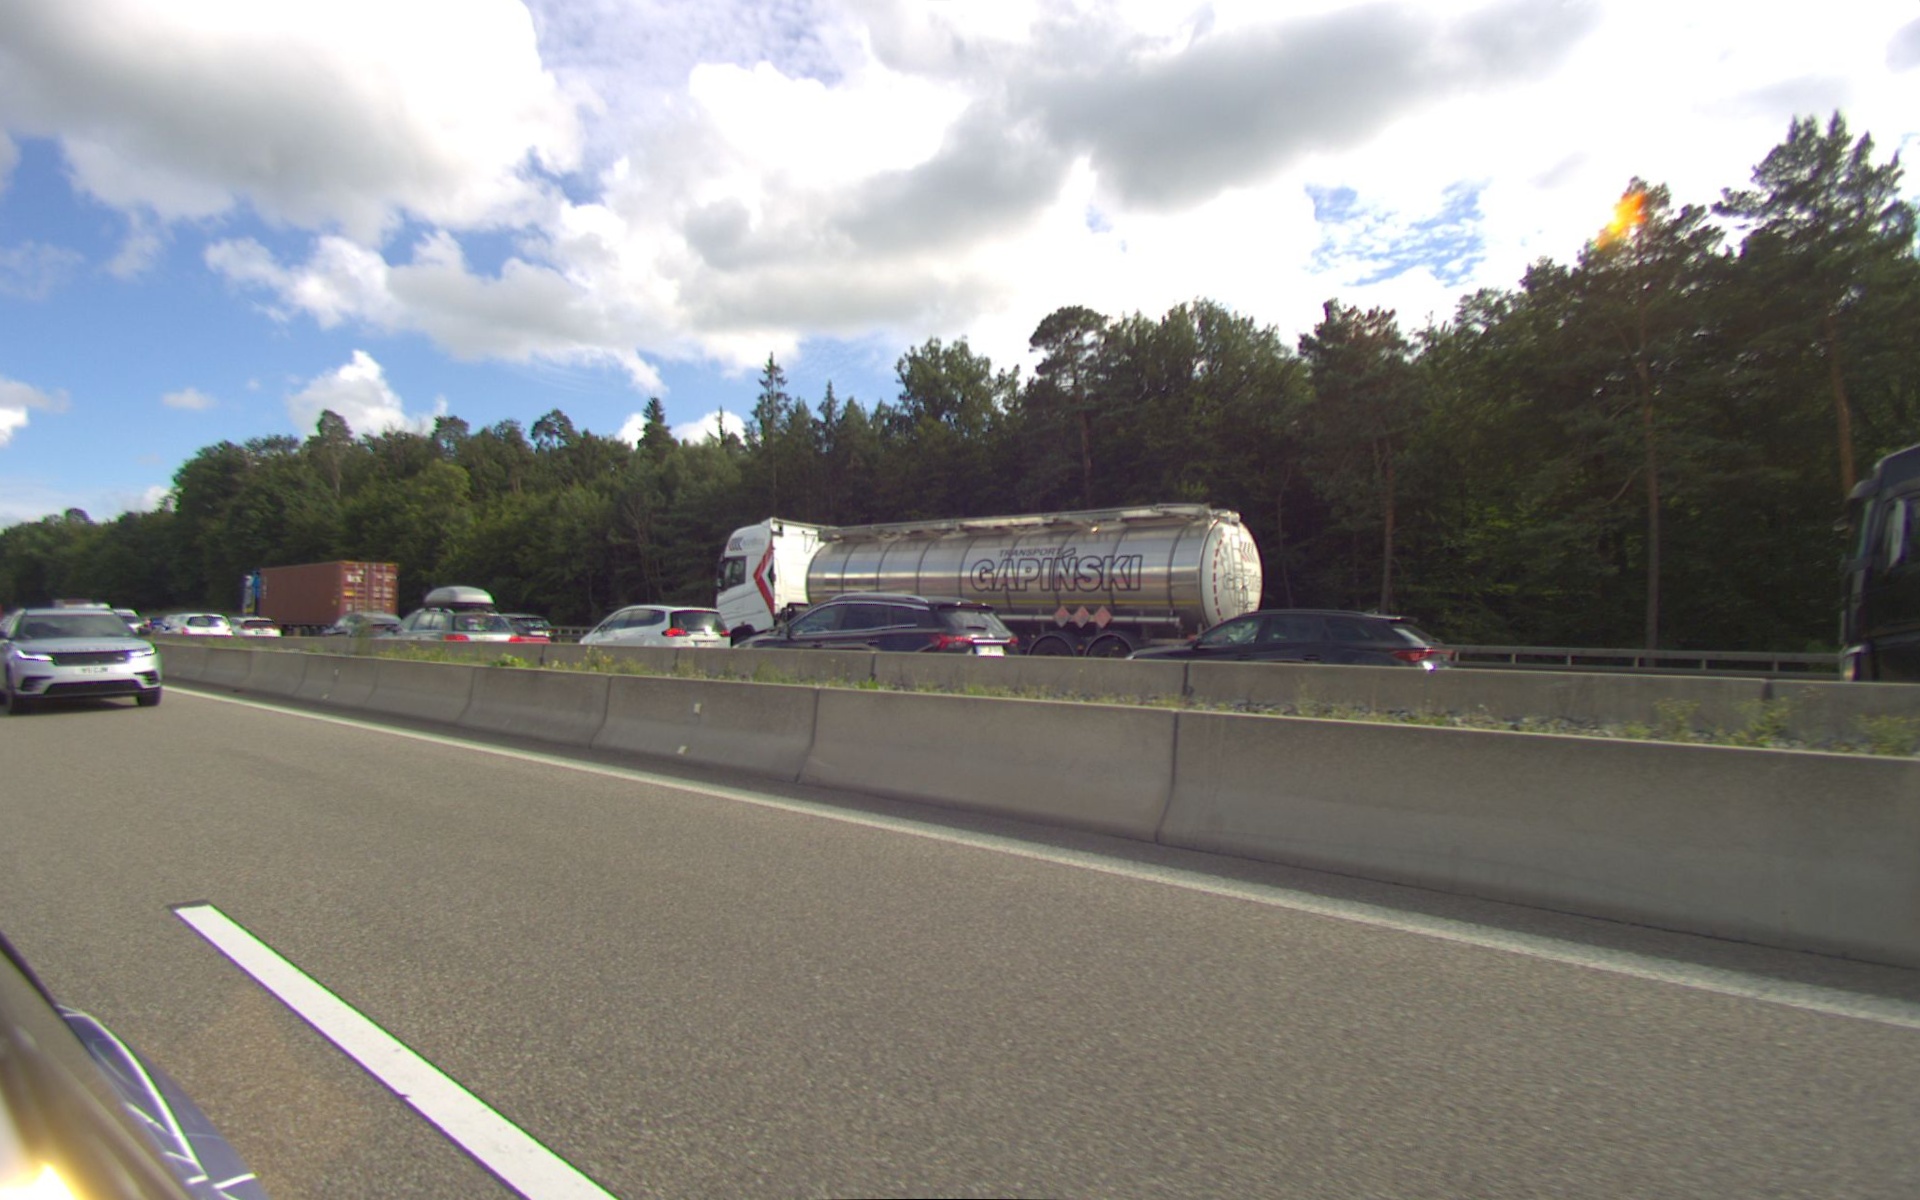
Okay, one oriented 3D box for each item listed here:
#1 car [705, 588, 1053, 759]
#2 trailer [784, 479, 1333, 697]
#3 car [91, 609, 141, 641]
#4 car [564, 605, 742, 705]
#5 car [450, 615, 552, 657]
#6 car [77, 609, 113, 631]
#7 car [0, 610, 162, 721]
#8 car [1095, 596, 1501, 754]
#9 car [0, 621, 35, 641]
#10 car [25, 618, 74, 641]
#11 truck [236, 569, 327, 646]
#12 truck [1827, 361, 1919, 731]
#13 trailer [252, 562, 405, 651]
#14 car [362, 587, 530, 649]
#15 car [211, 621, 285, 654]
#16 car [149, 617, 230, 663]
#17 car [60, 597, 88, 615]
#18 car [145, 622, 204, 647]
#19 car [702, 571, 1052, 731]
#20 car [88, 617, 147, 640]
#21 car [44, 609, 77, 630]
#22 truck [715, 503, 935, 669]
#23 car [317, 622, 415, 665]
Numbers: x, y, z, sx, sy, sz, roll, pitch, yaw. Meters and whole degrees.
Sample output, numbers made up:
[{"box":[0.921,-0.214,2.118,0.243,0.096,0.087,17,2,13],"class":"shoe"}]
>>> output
[{"box":[-1.262,0.858,13.590,4.902,1.896,1.797,-1,-1,42],"class":"car"},{"box":[1.303,-0.160,21.532,12.227,3.524,2.919,-1,0,41],"class":"trailer"},{"box":[-55.662,1.603,66.725,3.998,2.029,1.973,-1,0,41],"class":"car"},{"box":[-7.186,1.201,23.478,4.475,2.122,1.798,-1,-1,40],"class":"car"},{"box":[-16.828,1.285,37.023,4.387,1.447,1.672,-1,-1,40],"class":"car"},{"box":[-79.461,1.846,92.948,3.998,2.029,1.973,-1,-1,41],"class":"car"},{"box":[-15.477,1.040,17.407,5.103,1.619,1.880,-2,-1,42],"class":"car"},{"box":[4.393,0.894,13.720,4.900,1.777,1.798,-1,-1,41],"class":"car"},{"box":[-65.304,2.132,69.865,3.998,1.288,1.739,-1,-1,41],"class":"car"},{"box":[-54.686,1.746,60.746,3.998,1.288,1.739,-1,-1,41],"class":"car"},{"box":[-37.141,0.436,55.385,5.150,4.016,2.925,-1,-1,41],"class":"truck"},{"box":[13.449,-0.642,10.479,6.715,4.102,2.587,-1,-1,41],"class":"truck"},{"box":[-31.923,0.336,50.796,12.886,4.013,2.919,-1,0,41],"class":"trailer"},{"box":[-10.855,0.379,21.225,4.353,1.182,1.578,-1,-1,40],"class":"car"},{"box":[-32.064,1.656,45.529,4.388,1.408,1.671,-1,-1,41],"class":"car"},{"box":[-27.804,1.416,36.499,3.997,1.573,1.496,-1,-1,40],"class":"car"},{"box":[-102.818,0.707,117.456,3.998,2.029,1.973,-1,0,41],"class":"car"},{"box":[-43.277,1.876,55.718,3.998,1.288,1.853,-1,-1,41],"class":"car"},{"box":[-1.282,0.607,13.513,4.902,1.759,1.797,-1,-1,42],"class":"car"},{"box":[-39.667,1.332,47.640,3.998,1.006,1.555,-1,-1,41],"class":"car"},{"box":[-90.191,1.944,101.476,3.998,2.029,1.973,-1,-1,41],"class":"car"},{"box":[-3.497,-0.275,25.765,5.107,3.775,2.926,-1,-1,41],"class":"truck"},{"box":[-21.195,1.523,36.040,4.388,1.408,1.671,-1,-1,41],"class":"car"}]
